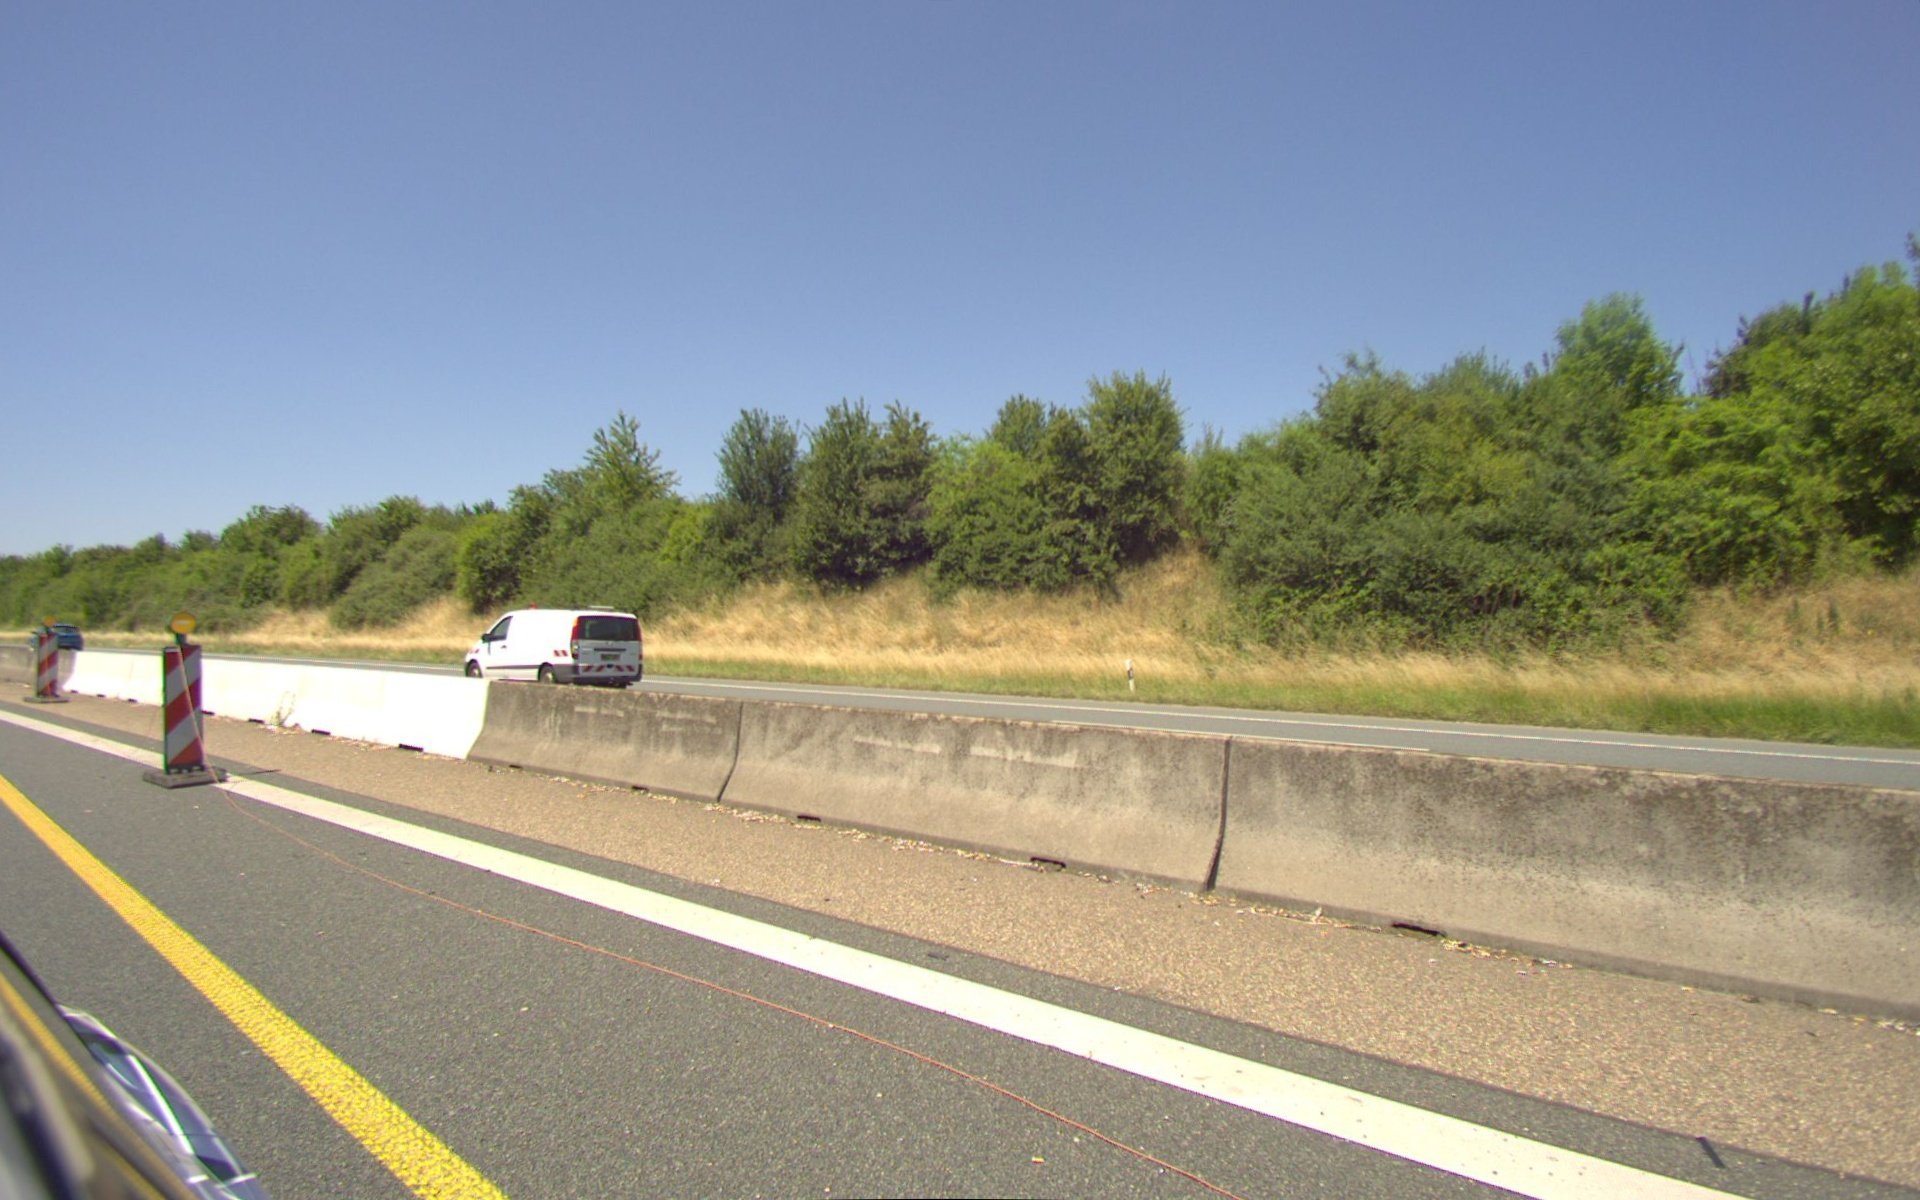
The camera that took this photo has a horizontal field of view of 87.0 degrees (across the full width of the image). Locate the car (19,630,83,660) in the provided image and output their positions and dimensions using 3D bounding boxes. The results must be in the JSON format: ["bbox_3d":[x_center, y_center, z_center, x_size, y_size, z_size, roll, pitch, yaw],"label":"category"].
[{"bbox_3d":[-48.378,2.358,53.836,3.473,1.529,1.872,-1,-2,36],"label":"car"}]

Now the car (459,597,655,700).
[{"bbox_3d":[-9.241,1.053,23.021,4.932,2.101,1.944,-1,-2,39],"label":"car"}]
